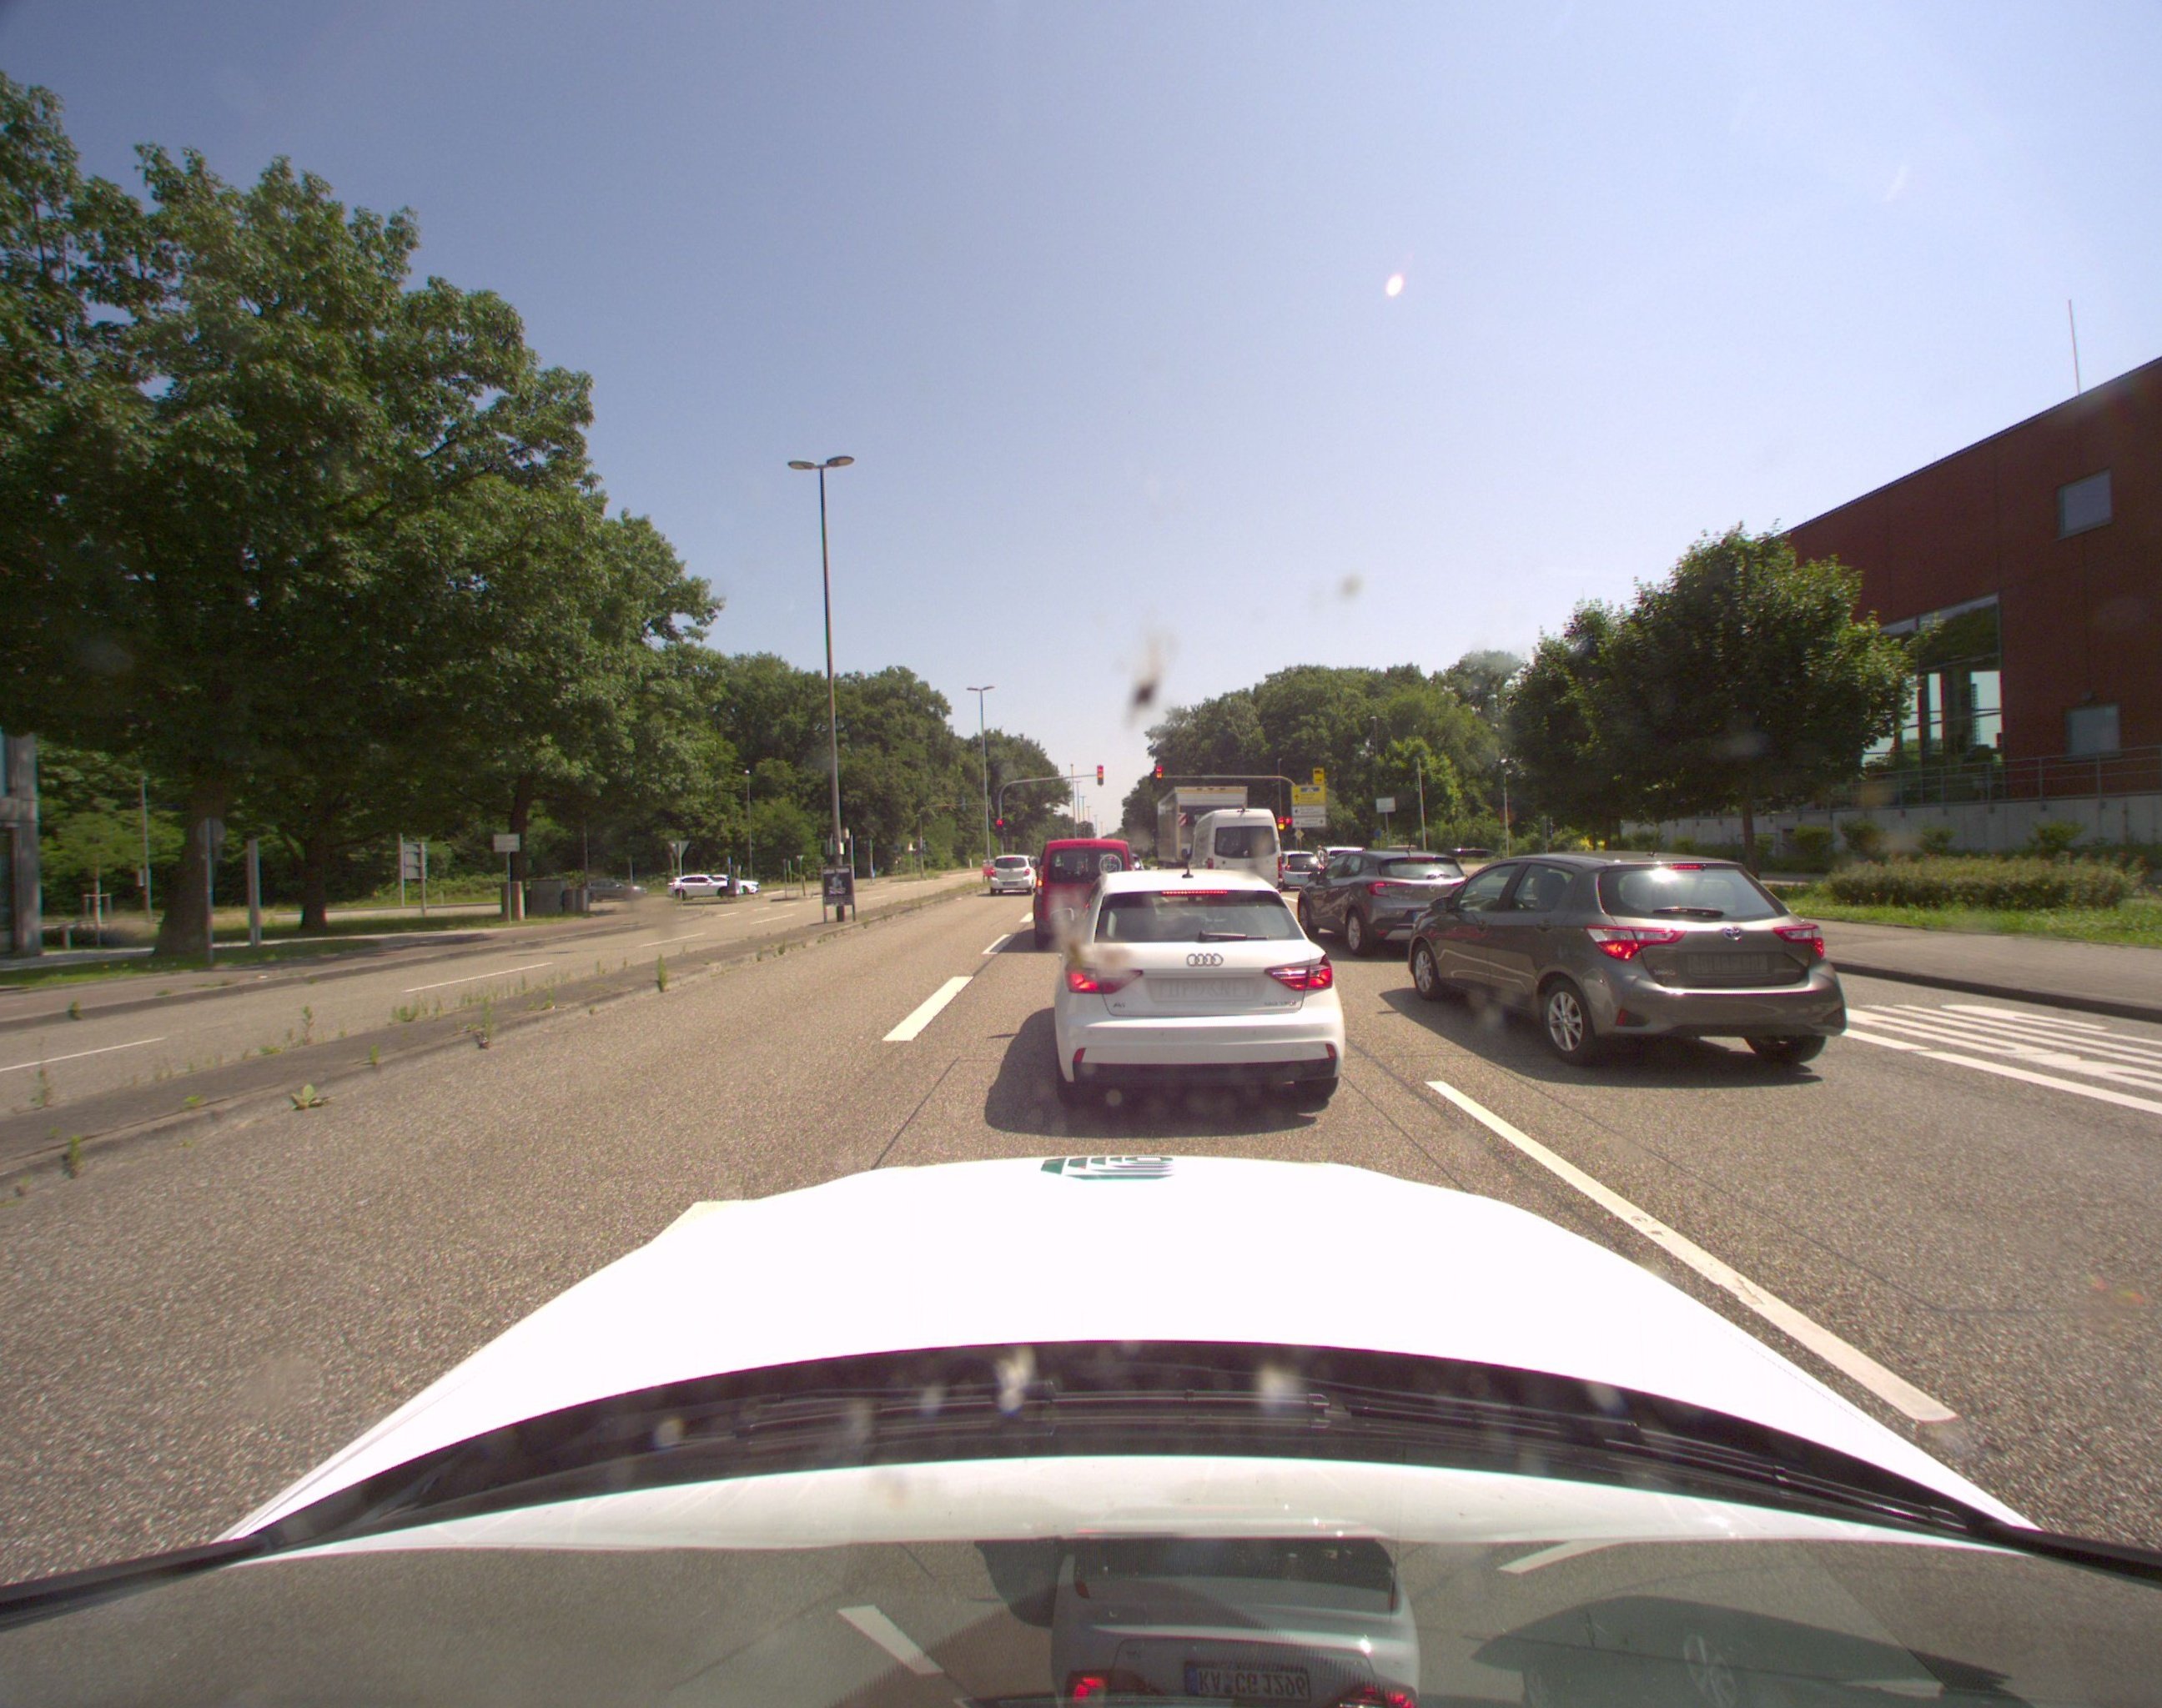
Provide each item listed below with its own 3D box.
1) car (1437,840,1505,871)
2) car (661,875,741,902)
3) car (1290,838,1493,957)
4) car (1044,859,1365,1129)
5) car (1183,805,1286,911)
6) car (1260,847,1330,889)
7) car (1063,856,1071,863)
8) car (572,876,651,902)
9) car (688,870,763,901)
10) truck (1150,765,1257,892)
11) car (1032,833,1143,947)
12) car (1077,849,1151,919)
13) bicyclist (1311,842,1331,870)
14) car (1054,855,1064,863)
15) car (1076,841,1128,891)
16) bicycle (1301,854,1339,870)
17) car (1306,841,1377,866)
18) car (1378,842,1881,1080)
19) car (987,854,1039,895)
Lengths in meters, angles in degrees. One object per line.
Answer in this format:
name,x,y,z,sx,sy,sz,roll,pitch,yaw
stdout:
car,28.509,0.111,59.565,3.972,2.013,2.001,-2,0,2
car,-24.856,2.264,53.437,4.366,1.681,1.806,0,-1,-7
car,4.764,0.594,13.156,1.706,1.593,4.091,-1,0,0
car,0.671,0.765,6.432,1.706,1.386,4.091,-1,0,0
car,4.198,0.095,23.063,2.024,2.644,4.845,-1,0,1
car,8.467,0.530,32.538,1.706,1.546,4.091,-1,0,0
car,-3.552,1.385,208.813,1.824,1.728,4.001,-2,0,1
car,-32.567,2.416,56.624,4.370,1.681,1.804,0,-1,-10
car,-24.943,2.171,57.261,4.367,1.681,1.806,-6,0,-7
truck,4.782,-0.906,34.440,3.077,4.434,11.584,-1,0,2
car,0.105,0.561,14.730,1.706,1.748,4.091,-1,0,0
car,0.791,0.706,21.212,1.706,1.631,4.091,-1,0,0
bicyclist,12.552,0.124,42.581,0.818,1.439,0.603,-3,-1,41
car,-4.926,1.160,183.054,1.987,1.772,4.205,-2,0,1
car,0.701,0.410,29.104,1.706,1.631,4.091,-1,0,0
bicycle,12.507,0.445,42.680,1.804,0.766,0.604,-2,0,42
car,18.383,-0.033,57.593,4.458,1.530,1.797,-2,0,-1
car,4.245,0.683,7.232,1.706,1.478,4.091,1,0,0
car,-2.629,0.772,32.319,1.706,1.493,4.091,-1,0,0
